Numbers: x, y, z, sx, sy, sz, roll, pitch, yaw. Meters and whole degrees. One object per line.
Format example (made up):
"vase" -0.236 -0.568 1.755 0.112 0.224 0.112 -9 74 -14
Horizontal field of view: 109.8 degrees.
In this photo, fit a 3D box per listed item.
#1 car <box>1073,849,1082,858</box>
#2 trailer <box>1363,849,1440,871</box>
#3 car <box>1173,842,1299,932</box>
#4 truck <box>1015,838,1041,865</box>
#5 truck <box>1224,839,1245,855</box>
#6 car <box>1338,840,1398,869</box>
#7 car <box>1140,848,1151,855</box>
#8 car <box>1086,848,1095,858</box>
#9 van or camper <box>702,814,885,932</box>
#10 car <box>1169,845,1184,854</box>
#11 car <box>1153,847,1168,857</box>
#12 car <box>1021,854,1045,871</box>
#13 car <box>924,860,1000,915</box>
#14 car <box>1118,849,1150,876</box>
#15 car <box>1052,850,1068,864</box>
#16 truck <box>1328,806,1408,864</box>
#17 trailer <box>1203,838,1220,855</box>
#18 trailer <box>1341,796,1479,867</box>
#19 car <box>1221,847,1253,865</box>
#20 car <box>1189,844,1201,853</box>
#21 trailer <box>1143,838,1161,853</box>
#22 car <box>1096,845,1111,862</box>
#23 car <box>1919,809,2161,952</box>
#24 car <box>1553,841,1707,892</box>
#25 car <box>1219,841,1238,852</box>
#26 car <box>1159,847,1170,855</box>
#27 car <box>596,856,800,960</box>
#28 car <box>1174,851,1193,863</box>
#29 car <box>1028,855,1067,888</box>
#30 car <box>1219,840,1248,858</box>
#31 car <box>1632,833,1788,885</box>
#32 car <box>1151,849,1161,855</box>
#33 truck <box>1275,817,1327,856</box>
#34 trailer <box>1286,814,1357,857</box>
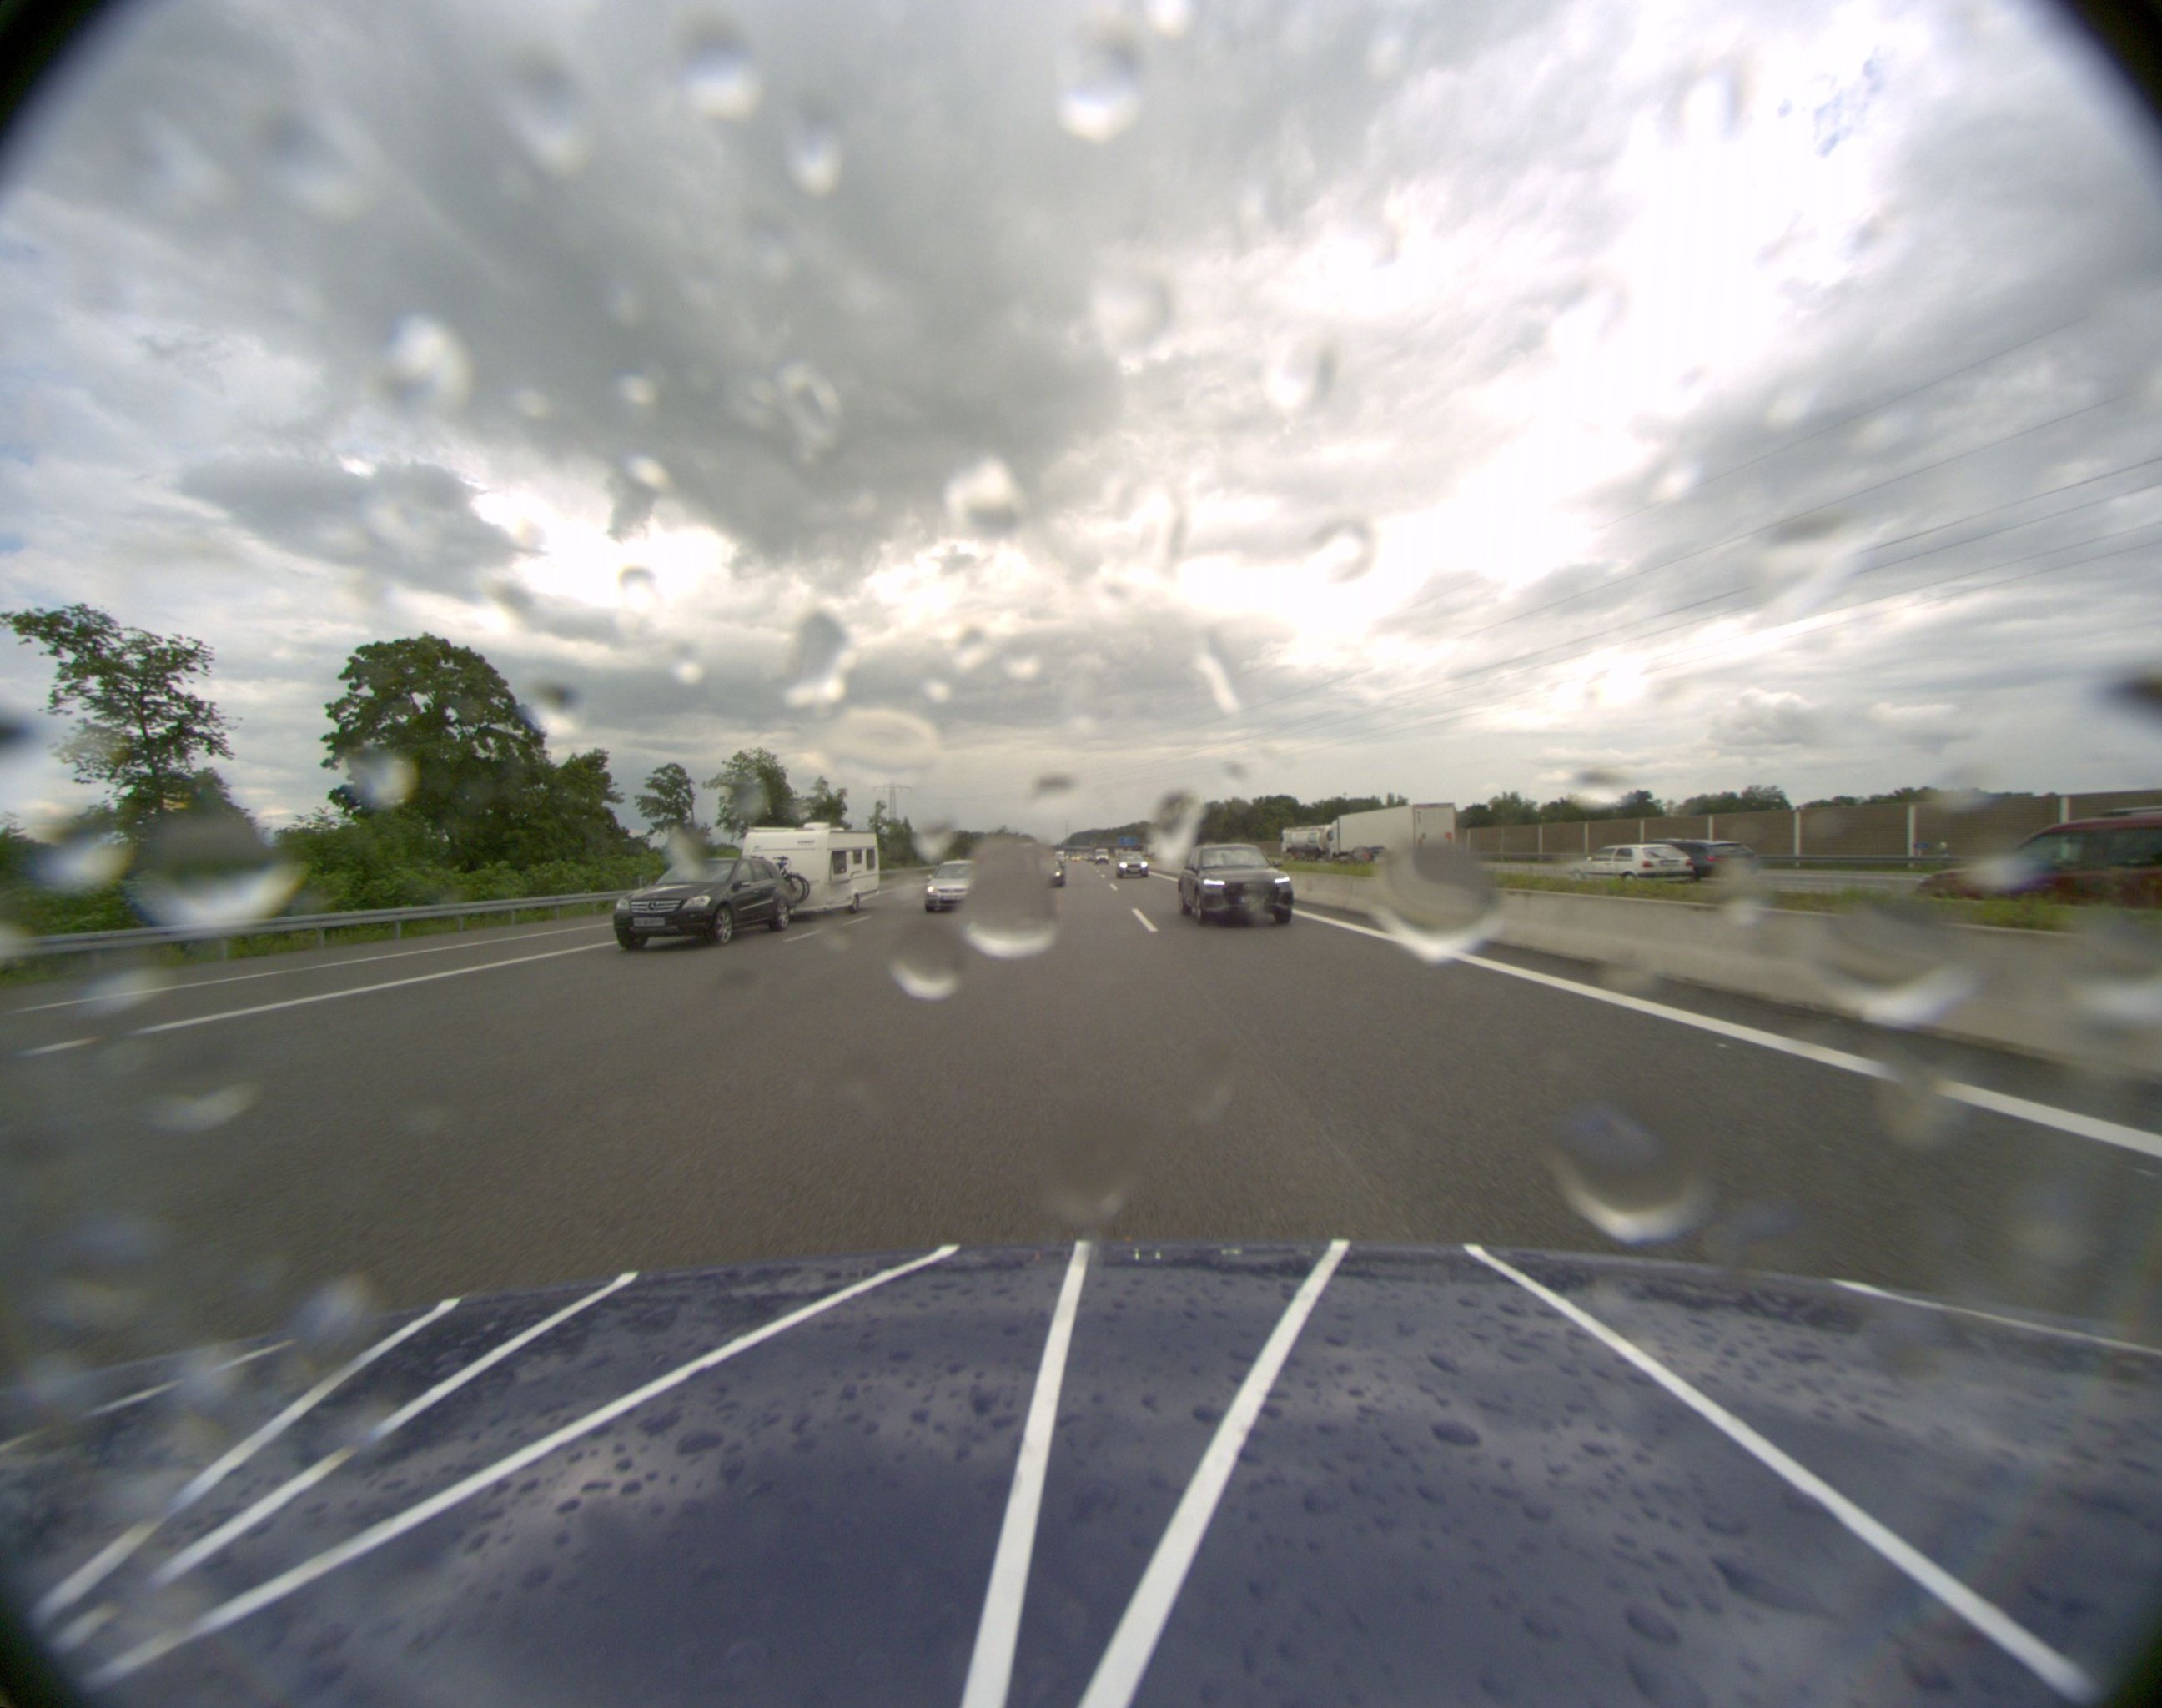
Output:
"car" -0.833 -0.190 181.277 1.999 2.002 3.999 -3 1 0
"trailer" 17.428 0.291 41.593 2.098 1.064 4.759 -3 0 -1
"car" 3.299 0.614 17.219 1.913 1.681 5.168 -2 1 2
"truck" -7.576 -0.353 109.600 2.870 3.633 9.593 -3 1 0
"truck" 25.348 -1.201 125.885 2.108 2.437 6.263 -3 1 0
"car" 17.382 0.022 46.271 1.792 1.553 4.564 -3 0 -1
"car" 14.274 -0.496 167.651 1.831 1.446 4.942 -3 0 -1
"car" 2.083 -0.225 169.691 1.999 2.002 3.999 -3 1 0
"van or camper" -7.834 0.440 21.881 2.390 2.723 7.208 -3 1 0
"car" 17.767 -0.860 141.162 1.970 1.446 4.942 -3 0 -1
"car" 13.823 -0.368 132.100 1.999 1.517 4.740 -2 0 -2
"car" -4.319 0.743 68.405 1.841 1.437 3.999 -2 0 0
"car" -3.570 0.967 23.461 1.683 1.437 3.999 -2 0 0
"car" 3.358 0.495 48.904 1.840 1.615 4.915 -2 0 2
"car" -2.659 0.325 97.360 1.999 1.701 3.999 -3 1 -1
"truck" 22.071 -1.418 58.909 3.669 4.024 6.524 -3 1 1
"trailer" 24.781 -1.432 144.392 2.253 2.945 4.900 -3 1 -1
"trailer" 21.946 -1.388 52.079 3.669 4.084 13.398 -3 0 1
"car" 13.936 0.174 67.972 1.792 1.446 4.564 -3 0 -1
"car" 24.582 -1.186 163.674 1.770 1.956 4.942 -3 1 -1
"trailer" 20.412 -2.459 219.348 3.328 4.038 13.285 -3 0 -1
"car" 3.424 -0.103 116.465 1.999 2.524 4.808 -3 1 0
"car" 13.552 0.283 9.312 1.792 1.656 4.295 -3 1 0
"car" 18.086 0.361 25.333 1.792 1.446 4.564 -3 0 0
"car" 20.937 -1.053 108.026 1.792 1.460 4.564 -3 0 -1
"car" 17.708 -0.624 161.188 1.770 1.446 4.233 -3 0 -1
"car" -7.756 0.989 15.980 1.925 1.766 4.502 -2 0 0
"car" 13.837 0.360 102.903 1.792 1.446 4.564 -3 0 -1
"car" -1.603 0.823 37.922 1.717 1.437 3.999 -2 0 0
"car" 17.933 -0.578 89.673 2.286 1.956 6.086 -3 0 2
"car" 21.866 0.138 26.688 1.792 1.582 4.385 -3 0 0
"car" 17.737 -0.517 179.578 1.770 1.446 4.942 -3 0 -1
"truck" 26.196 -2.040 91.020 3.670 4.294 8.236 -3 1 0
"trailer" 26.219 -1.960 83.739 3.670 4.212 12.465 -3 0 0
